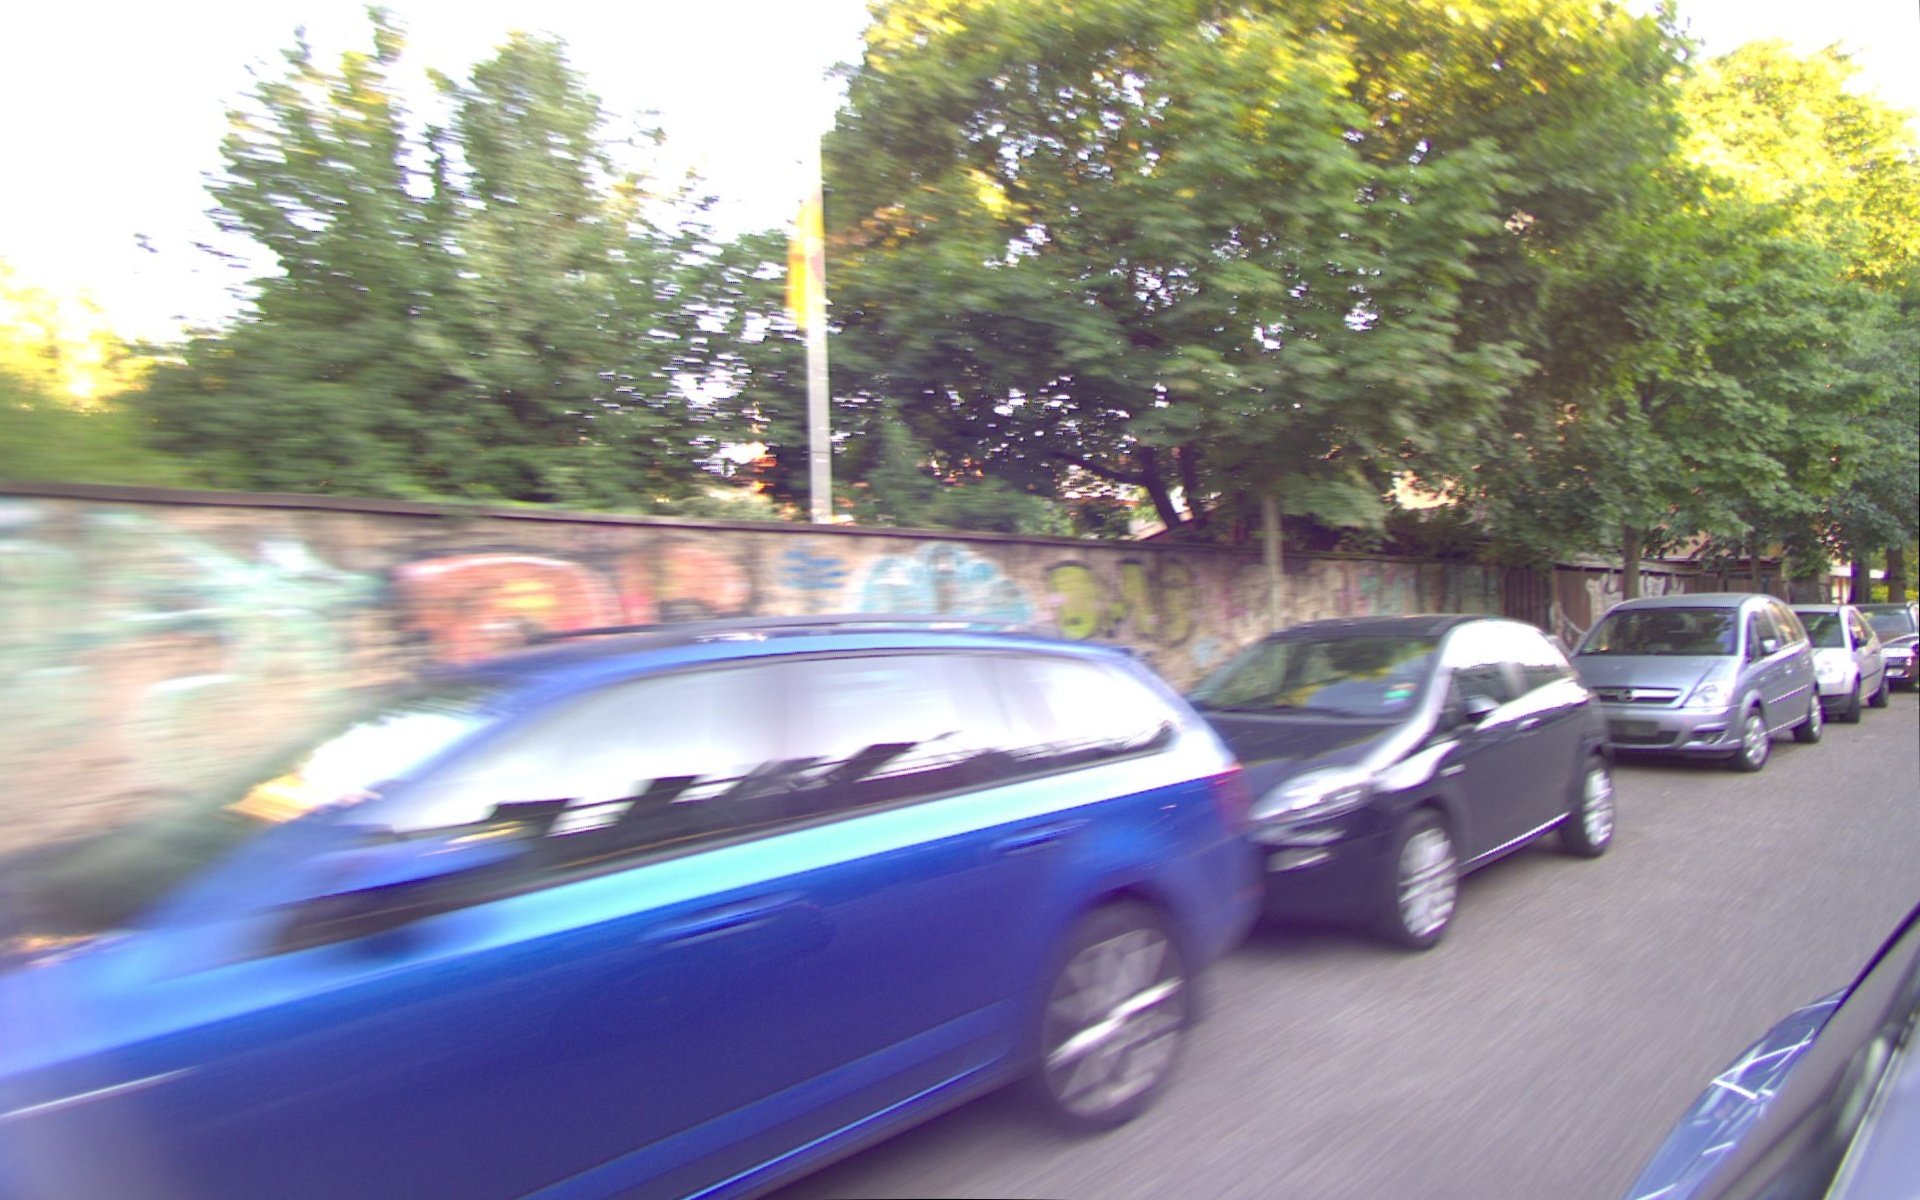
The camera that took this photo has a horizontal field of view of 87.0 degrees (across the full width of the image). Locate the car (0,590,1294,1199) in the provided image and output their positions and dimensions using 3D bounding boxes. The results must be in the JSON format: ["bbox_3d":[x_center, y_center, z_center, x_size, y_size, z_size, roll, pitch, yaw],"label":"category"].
[{"bbox_3d":[-0.956,0.744,2.766,4.045,1.495,1.698,0,-1,-41],"label":"car"}]

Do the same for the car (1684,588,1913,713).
[{"bbox_3d":[11.463,0.625,13.765,3.805,1.460,1.762,1,-2,-41],"label":"car"}]

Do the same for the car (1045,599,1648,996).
[{"bbox_3d":[2.356,0.768,5.717,3.707,1.495,1.599,0,-1,-41],"label":"car"}]

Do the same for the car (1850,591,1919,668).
[{"bbox_3d":[19.537,0.576,20.463,3.935,1.461,1.762,1,-2,-41],"label":"car"}]

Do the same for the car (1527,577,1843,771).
[{"bbox_3d":[7.540,0.617,10.405,3.806,1.624,1.762,0,-1,-41],"label":"car"}]

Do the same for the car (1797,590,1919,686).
[{"bbox_3d":[16.099,0.582,17.530,4.315,1.473,1.762,-1,0,-41],"label":"car"}]
